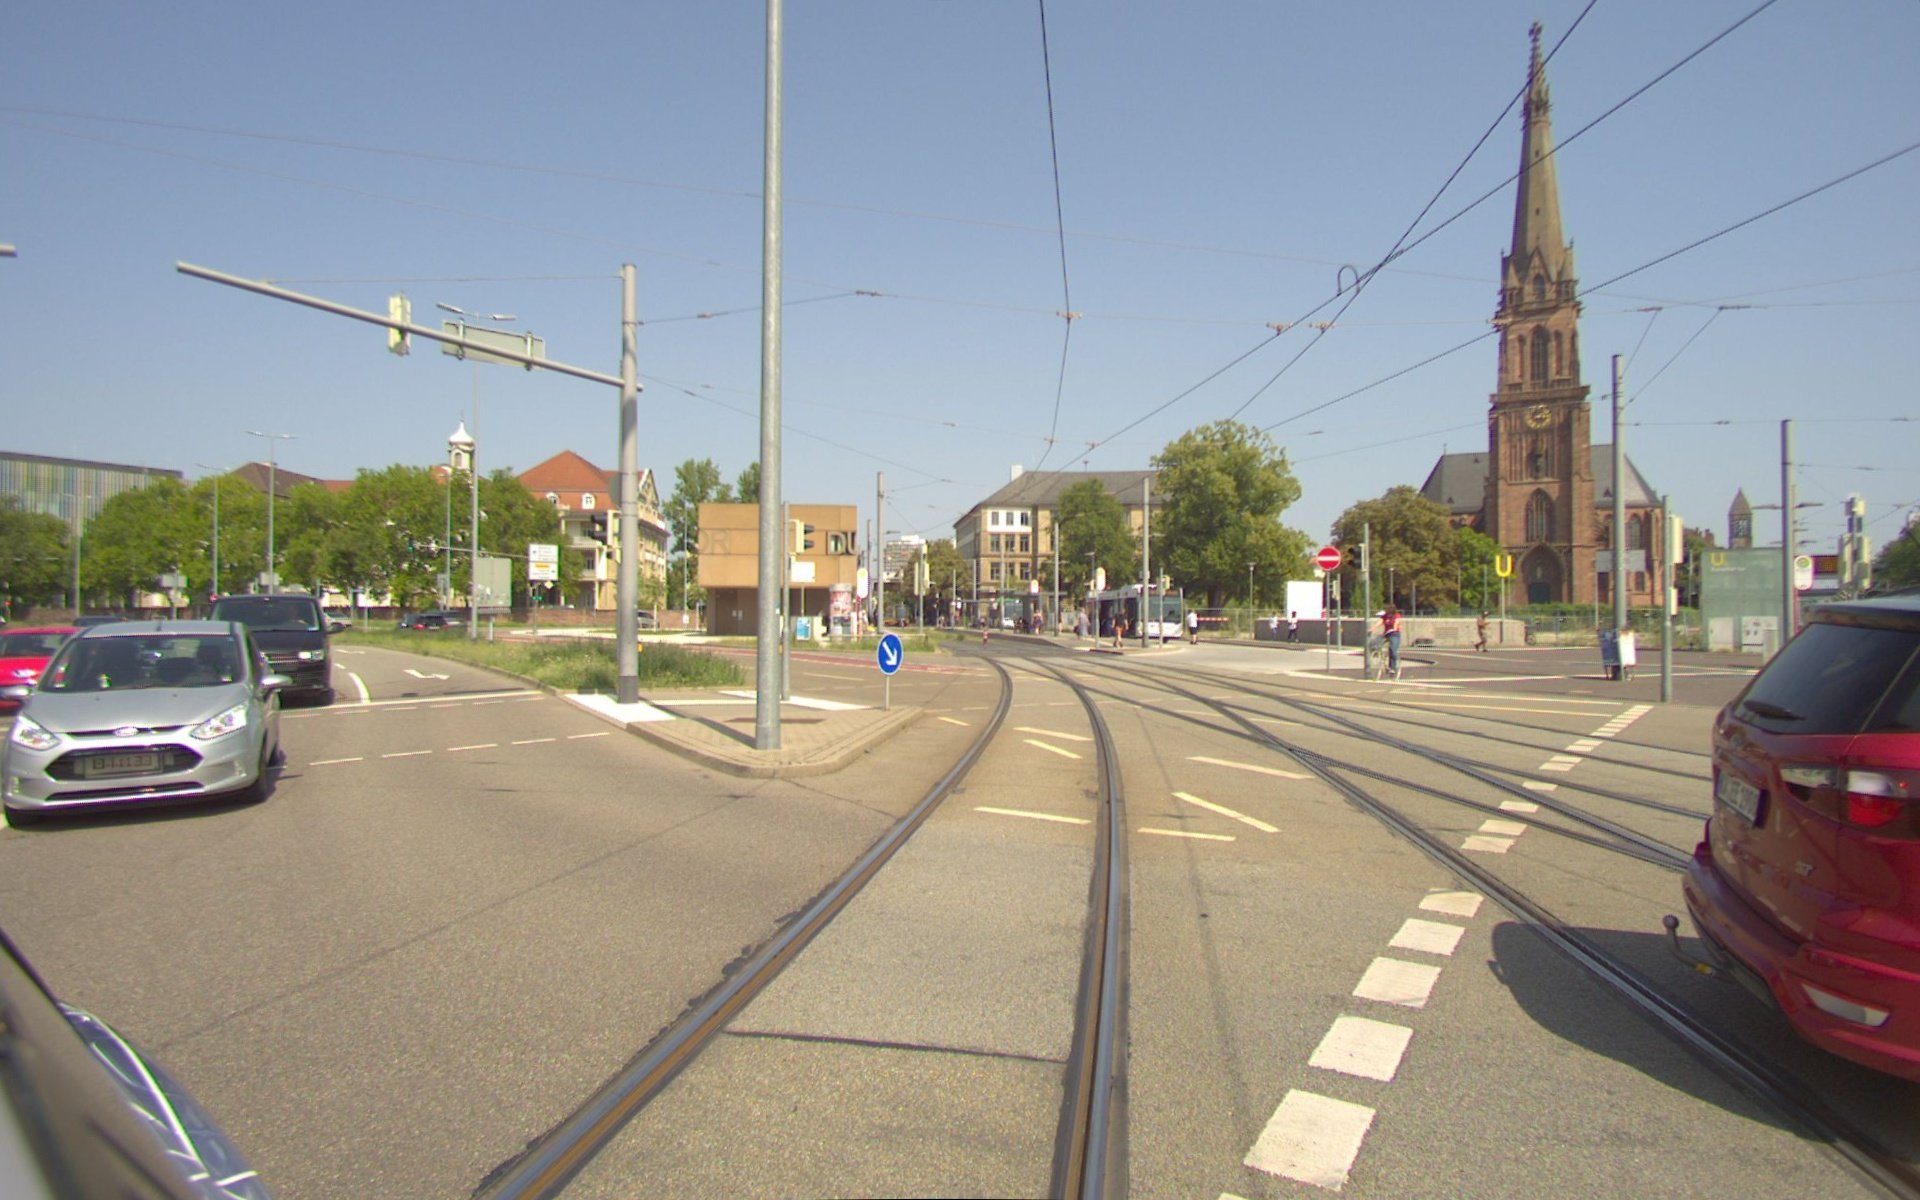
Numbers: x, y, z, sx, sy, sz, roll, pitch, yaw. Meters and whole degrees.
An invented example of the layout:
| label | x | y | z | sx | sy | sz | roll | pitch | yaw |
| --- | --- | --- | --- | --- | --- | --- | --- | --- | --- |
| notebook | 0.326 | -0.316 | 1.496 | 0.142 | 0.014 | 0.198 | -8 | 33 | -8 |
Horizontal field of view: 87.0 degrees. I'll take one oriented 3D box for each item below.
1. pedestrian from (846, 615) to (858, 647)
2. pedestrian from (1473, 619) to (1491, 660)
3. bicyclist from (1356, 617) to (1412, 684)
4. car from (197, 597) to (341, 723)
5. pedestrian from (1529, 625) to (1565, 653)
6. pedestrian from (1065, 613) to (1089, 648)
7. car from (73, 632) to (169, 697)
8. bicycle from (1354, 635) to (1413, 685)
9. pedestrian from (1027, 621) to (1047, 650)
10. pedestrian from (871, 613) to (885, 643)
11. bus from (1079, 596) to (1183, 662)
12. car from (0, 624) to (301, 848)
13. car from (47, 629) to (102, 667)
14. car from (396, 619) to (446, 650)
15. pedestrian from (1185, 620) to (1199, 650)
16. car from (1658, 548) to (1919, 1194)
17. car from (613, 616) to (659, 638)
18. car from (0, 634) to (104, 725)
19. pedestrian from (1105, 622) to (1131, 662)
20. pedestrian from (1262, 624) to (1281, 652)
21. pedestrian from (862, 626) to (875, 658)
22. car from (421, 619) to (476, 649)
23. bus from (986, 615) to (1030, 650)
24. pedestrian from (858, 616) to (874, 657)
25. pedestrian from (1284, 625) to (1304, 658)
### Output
| label | x | y | z | sx | sy | sz | roll | pitch | yaw |
| --- | --- | --- | --- | --- | --- | --- | --- | --- | --- |
| pedestrian | -5.801 | 1.688 | 54.505 | 0.570 | 1.688 | 0.588 | -1 | 0 | -4 |
| pedestrian | 21.877 | 1.652 | 42.405 | 0.570 | 1.671 | 0.795 | -1 | 0 | 22 |
| bicyclist | 9.680 | 1.131 | 23.094 | 0.878 | 1.470 | 0.966 | -1 | -2 | 44 |
| car | -12.260 | 0.986 | 18.183 | 1.868 | 1.945 | 4.899 | 1 | -2 | -32 |
| pedestrian | 31.728 | 2.103 | 54.717 | 0.604 | 1.497 | 1.703 | 0 | -2 | -15 |
| pedestrian | 6.032 | 1.572 | 52.177 | 0.785 | 1.793 | 0.945 | -1 | -3 | 43 |
| car | -20.223 | 1.511 | 24.504 | 1.492 | 1.349 | 3.517 | -1 | 0 | -35 |
| bicycle | 9.647 | 1.334 | 23.023 | 0.615 | 1.077 | 1.885 | -1 | -2 | 43 |
| pedestrian | 4.716 | 2.169 | 61.930 | 0.774 | 1.793 | 0.960 | 3 | -3 | -44 |
| pedestrian | -4.585 | 1.582 | 56.779 | 0.512 | 1.658 | 0.563 | -1 | 0 | 43 |
| bus | 9.565 | 1.616 | 58.501 | 2.636 | 3.356 | 12.774 | 0 | -1 | -6 |
| car | -7.381 | 1.030 | 9.548 | 1.664 | 1.607 | 4.374 | 1 | -2 | -30 |
| car | -35.519 | 1.893 | 40.632 | 1.592 | 1.434 | 3.612 | 1 | -2 | -41 |
| car | -27.825 | 1.765 | 52.199 | 1.652 | 1.532 | 3.713 | 1 | -2 | -37 |
| pedestrian | 11.985 | 1.811 | 52.207 | 0.569 | 1.540 | 0.600 | 1 | -2 | -1 |
| car | 4.371 | 0.695 | 2.550 | 4.062 | 1.630 | 1.752 | 0 | -2 | 27 |
| car | -30.573 | 2.562 | 95.576 | 1.990 | 1.985 | 3.963 | -1 | -2 | 27 |
| car | -16.291 | 1.341 | 17.885 | 1.492 | 1.419 | 3.367 | 0 | -1 | -35 |
| pedestrian | 7.181 | 1.896 | 45.952 | 0.785 | 1.793 | 0.945 | -1 | -3 | 43 |
| pedestrian | 17.693 | 2.172 | 57.488 | 0.772 | 1.560 | 0.680 | 1 | -2 | -10 |
| pedestrian | -4.038 | 1.863 | 44.812 | 0.454 | 1.385 | 0.350 | 1 | -2 | -31 |
| car | -30.043 | 1.958 | 59.374 | 1.873 | 1.665 | 4.664 | 1 | -2 | -40 |
| bus | 4.787 | 3.204 | 103.578 | 2.503 | 3.054 | 12.453 | -1 | 0 | -6 |
| pedestrian | -4.213 | 1.639 | 45.351 | 0.551 | 1.830 | 0.562 | 1 | -2 | -31 |
| pedestrian | 17.910 | 2.205 | 54.319 | 0.772 | 1.741 | 0.680 | 0 | -2 | -10 |
